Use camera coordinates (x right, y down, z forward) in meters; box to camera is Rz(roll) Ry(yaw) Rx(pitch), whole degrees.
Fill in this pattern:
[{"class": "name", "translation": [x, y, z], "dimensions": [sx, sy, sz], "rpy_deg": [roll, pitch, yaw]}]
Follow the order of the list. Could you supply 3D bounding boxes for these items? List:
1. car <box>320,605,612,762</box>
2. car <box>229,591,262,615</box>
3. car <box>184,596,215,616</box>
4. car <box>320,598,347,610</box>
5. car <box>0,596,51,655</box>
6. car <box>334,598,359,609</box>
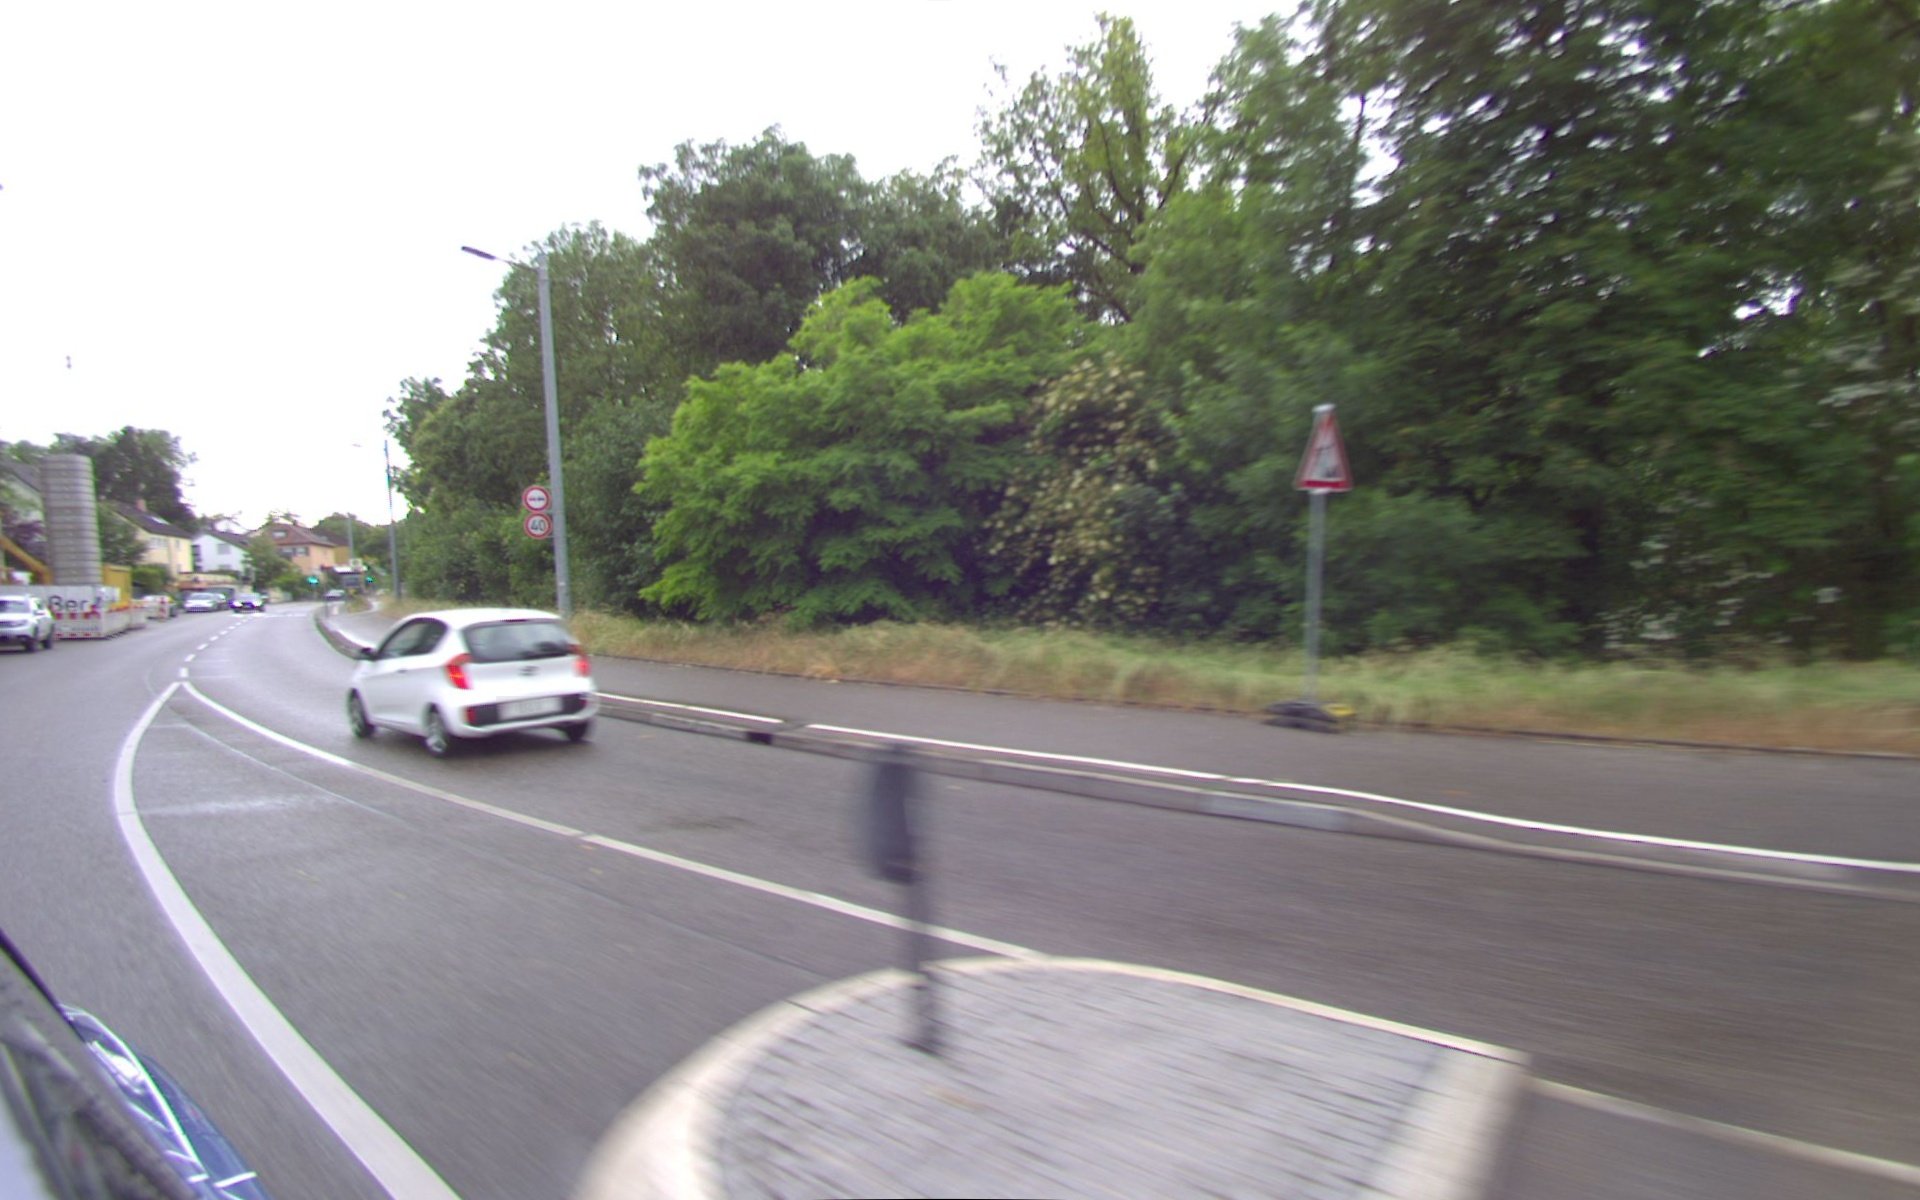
[{"class": "car", "translation": [-5.687, 0.801, 11.469], "dimensions": [3.800, 1.465, 1.615], "rpy_deg": [0, 1, 41]}, {"class": "car", "translation": [-53.301, 0.258, 75.525], "dimensions": [1.967, 1.730, 4.010], "rpy_deg": [0, -1, -35]}, {"class": "car", "translation": [-58.497, 0.481, 77.907], "dimensions": [1.709, 1.501, 4.010], "rpy_deg": [0, -1, -34]}, {"class": "car", "translation": [-81.846, 0.481, 132.312], "dimensions": [1.844, 1.501, 4.011], "rpy_deg": [0, 0, -14]}, {"class": "car", "translation": [-27.706, 0.685, 29.225], "dimensions": [1.803, 1.607, 4.009], "rpy_deg": [1, 0, -37]}, {"class": "car", "translation": [-83.342, 0.473, 137.588], "dimensions": [1.844, 1.501, 4.011], "rpy_deg": [0, 0, -14]}]
